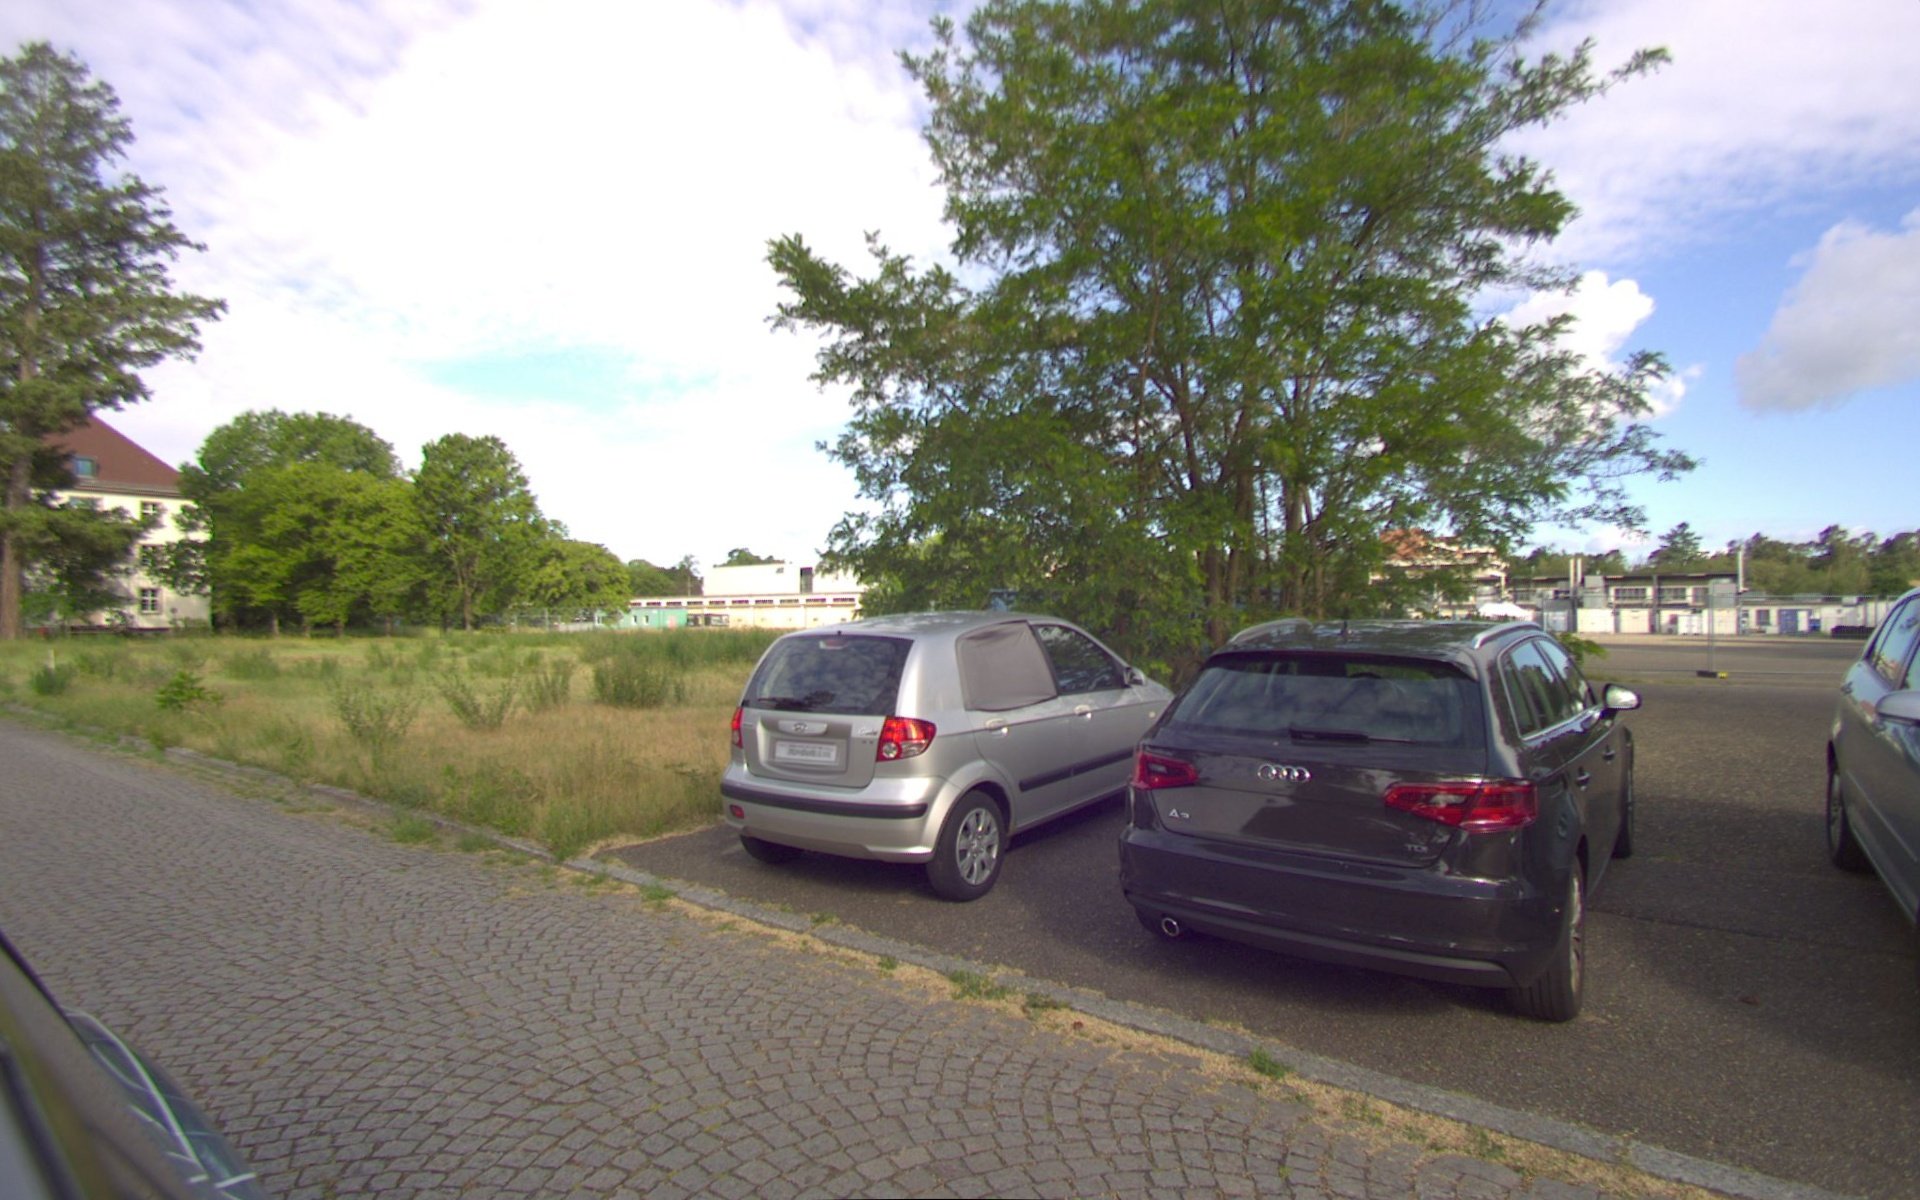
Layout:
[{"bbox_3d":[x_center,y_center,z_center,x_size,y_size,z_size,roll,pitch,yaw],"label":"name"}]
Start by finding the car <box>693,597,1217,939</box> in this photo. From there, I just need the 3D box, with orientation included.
[{"bbox_3d":[0.218,0.784,6.612,1.644,1.486,3.545,-1,1,36],"label":"car"}]

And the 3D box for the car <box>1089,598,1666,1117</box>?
[{"bbox_3d":[2.344,0.765,4.998,1.693,1.419,3.800,-1,1,37],"label":"car"}]

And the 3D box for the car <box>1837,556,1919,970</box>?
[{"bbox_3d":[4.592,0.616,3.670,1.732,1.619,3.798,-1,1,35],"label":"car"}]
